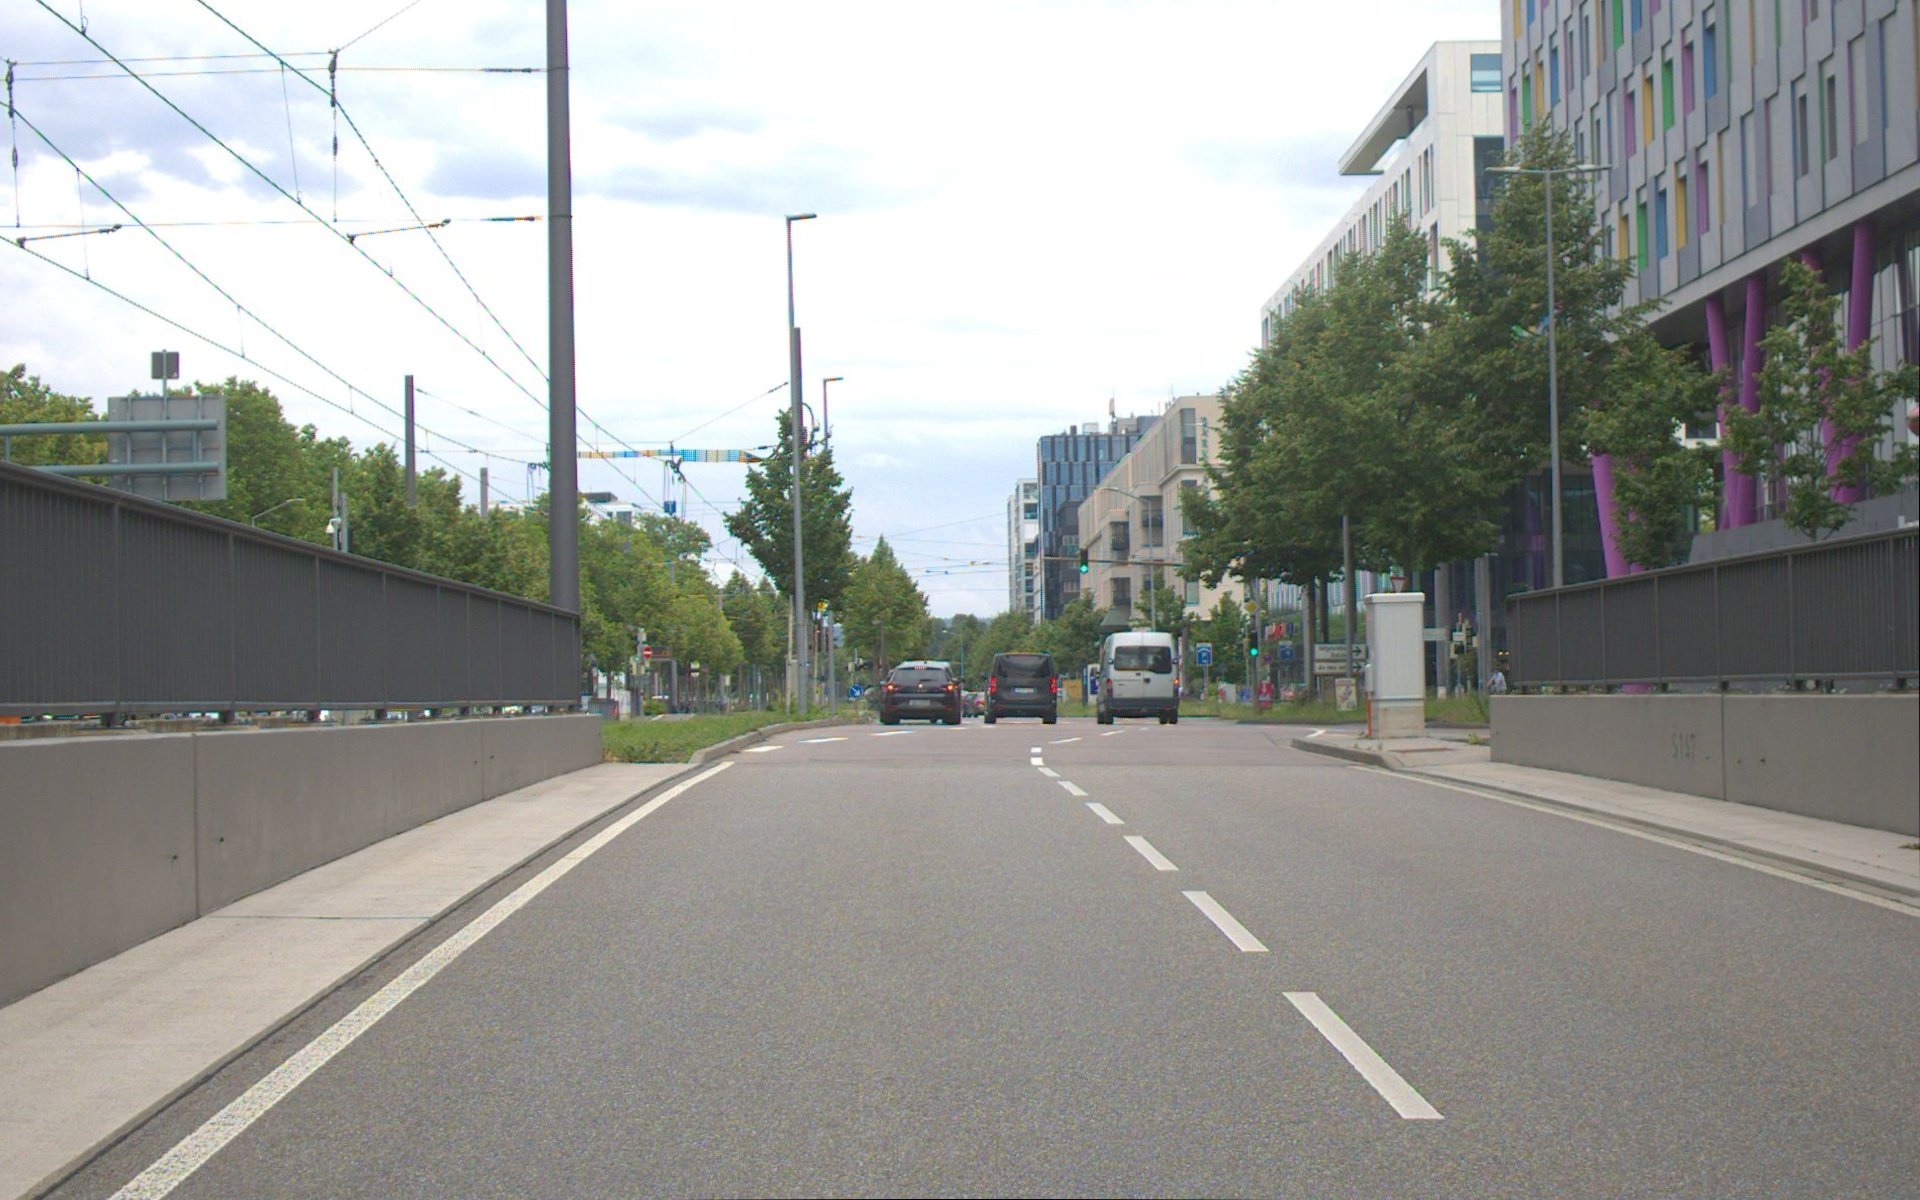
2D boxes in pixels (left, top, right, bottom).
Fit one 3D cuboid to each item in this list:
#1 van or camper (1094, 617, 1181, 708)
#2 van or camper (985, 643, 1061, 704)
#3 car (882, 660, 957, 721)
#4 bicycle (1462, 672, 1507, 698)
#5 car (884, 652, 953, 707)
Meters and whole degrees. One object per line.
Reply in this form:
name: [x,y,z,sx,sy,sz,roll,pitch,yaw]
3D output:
van or camper: [4.809,1.676,93.613,2.109,2.348,4.923,0,0,0]
van or camper: [1.684,1.985,93.719,1.993,1.610,4.788,0,0,0]
car: [-0.996,2.162,82.289,1.743,1.412,4.000,1,-2,-1]
bicycle: [21.861,3.544,143.335,1.792,1.082,0.617,-1,-2,2]
car: [-1.290,2.499,107.794,1.993,1.676,3.999,0,-1,2]
